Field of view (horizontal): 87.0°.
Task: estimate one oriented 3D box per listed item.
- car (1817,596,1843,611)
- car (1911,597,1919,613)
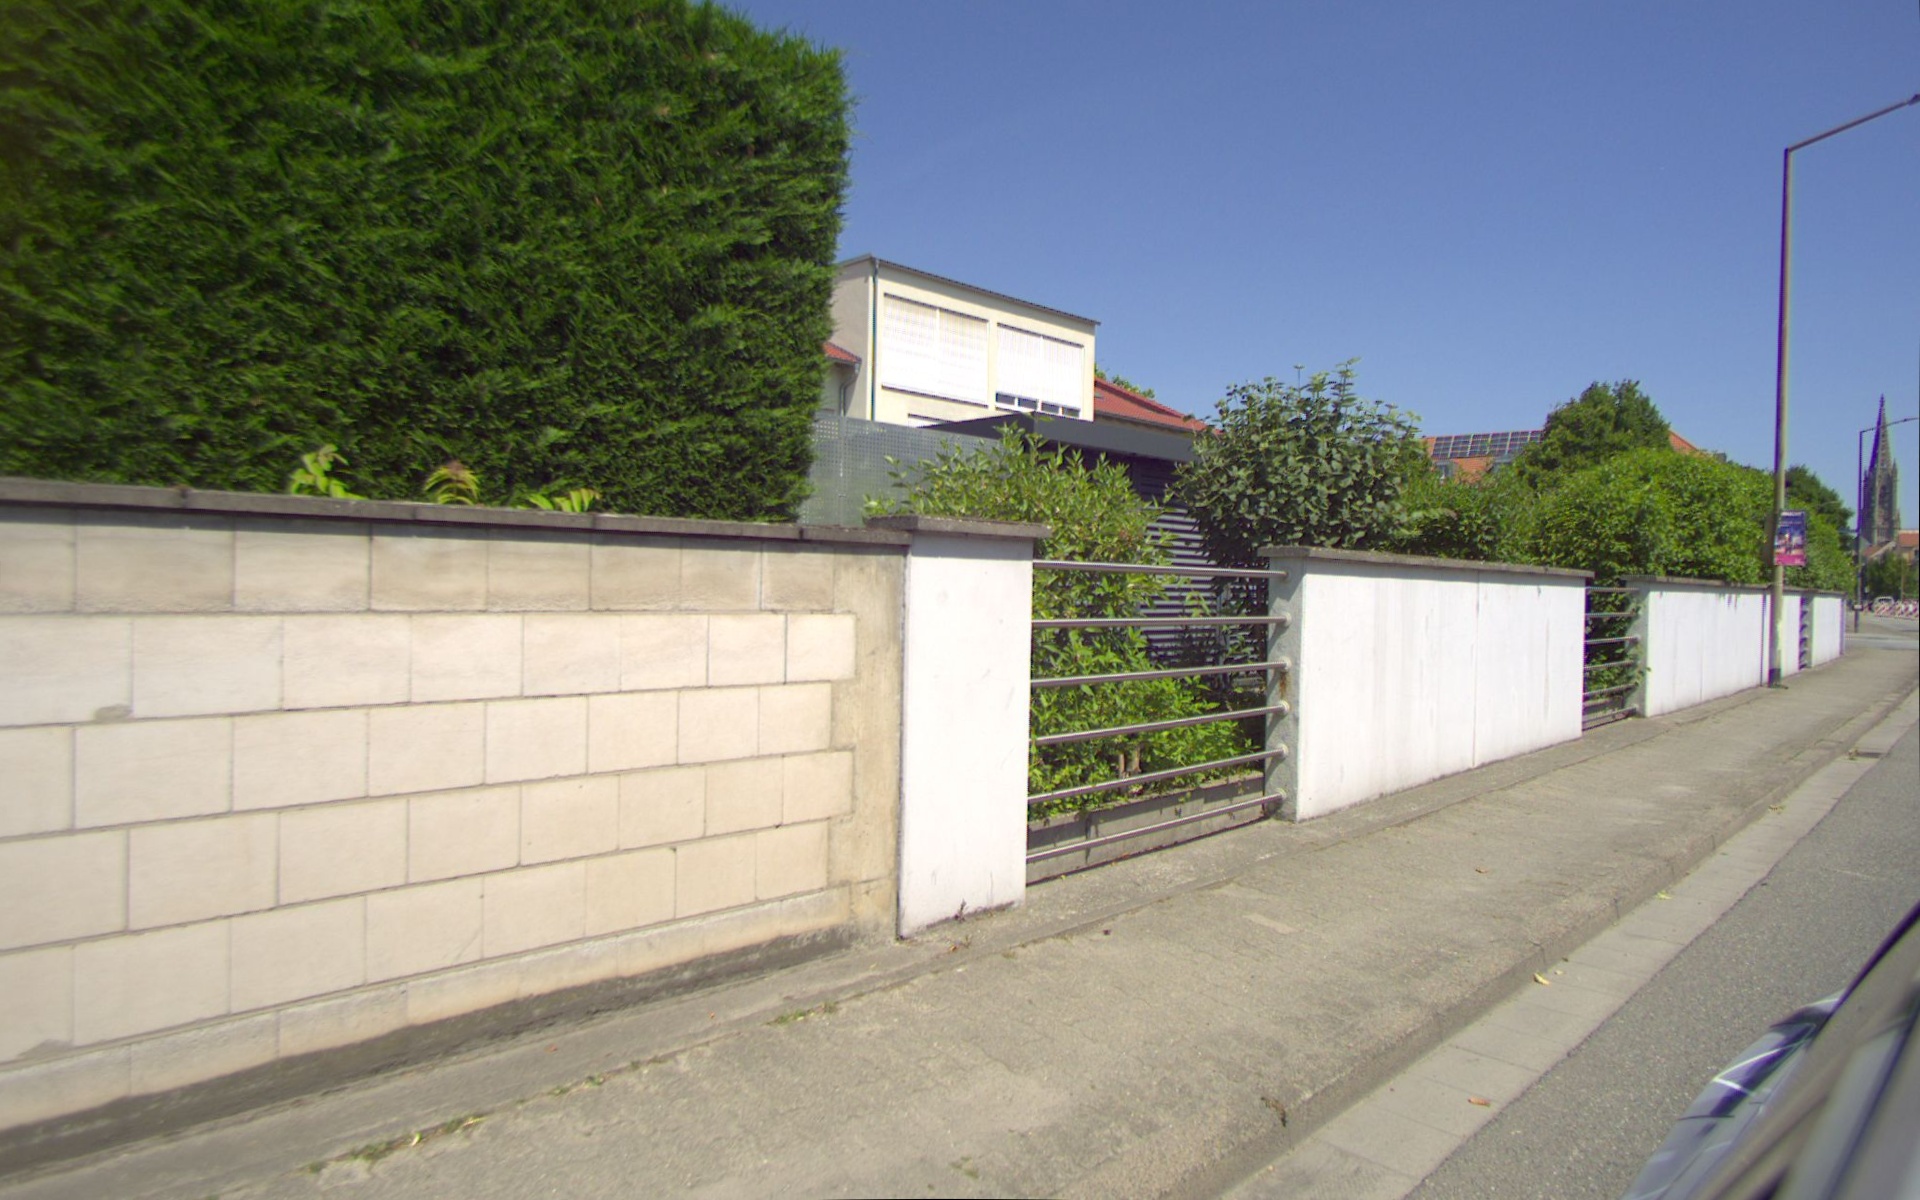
[{"bbox_3d":[93.437,0.388,108.700,1.701,1.476,3.520,2,1,34],"label":"car"},{"bbox_3d":[91.043,0.463,95.414,1.695,1.529,3.411,-1,0,38],"label":"car"}]
